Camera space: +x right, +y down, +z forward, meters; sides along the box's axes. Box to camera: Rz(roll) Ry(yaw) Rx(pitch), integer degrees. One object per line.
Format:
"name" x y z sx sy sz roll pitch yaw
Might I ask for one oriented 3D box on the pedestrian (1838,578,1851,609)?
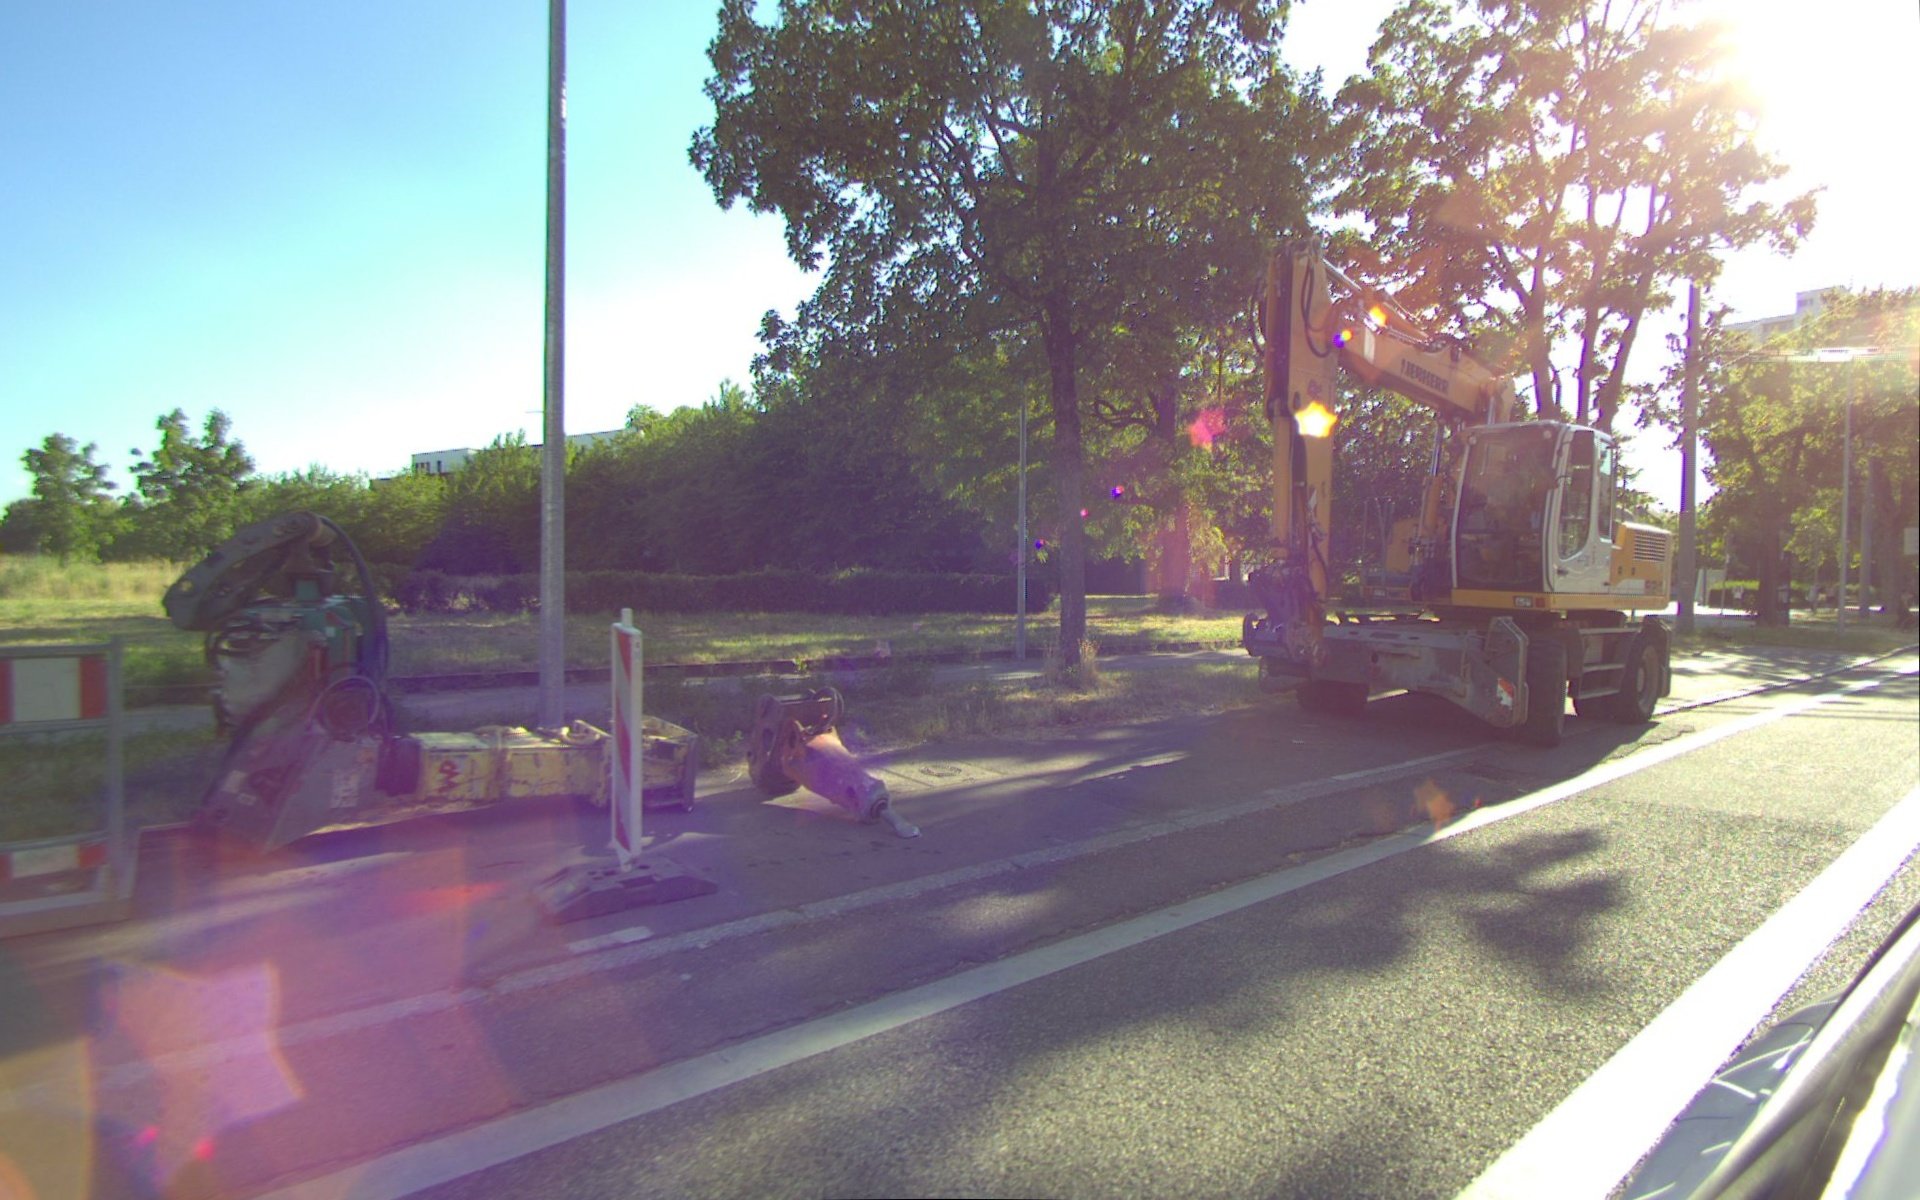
"pedestrian" 52.726 -0.398 60.327 0.555 1.864 0.501 0 2 -42

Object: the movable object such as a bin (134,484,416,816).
"movable object such as a bin" -4.143 0.205 6.159 1.278 1.687 1.323 0 7 -36

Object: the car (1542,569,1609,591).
"car" 48.444 -1.610 79.784 4.349 1.646 1.782 2 2 29

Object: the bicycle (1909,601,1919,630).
"bicycle" 33.065 0.510 33.705 0.710 0.991 2.058 -1 -1 -43

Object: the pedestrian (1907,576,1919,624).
"pedestrian" 33.528 0.000 35.297 0.527 1.683 0.483 3 2 28

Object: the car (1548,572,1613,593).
"car" 50.108 -1.431 81.811 4.349 1.646 1.782 2 2 29

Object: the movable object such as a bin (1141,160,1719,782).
"movable object such as a bin" 5.583 -1.087 11.228 7.468 4.665 2.920 -1 4 -42

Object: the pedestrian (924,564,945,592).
"pedestrian" -1.654 -1.398 65.458 0.823 1.778 1.013 -2 0 40

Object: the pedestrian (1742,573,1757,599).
"pedestrian" 44.123 -0.798 56.531 0.504 1.460 0.549 0 2 -42

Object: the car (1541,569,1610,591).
"car" 46.791 -1.544 77.043 4.349 1.646 1.782 2 2 29

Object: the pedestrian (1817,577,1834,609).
"pedestrian" 52.204 -0.430 61.031 0.555 1.864 0.645 0 2 -42
